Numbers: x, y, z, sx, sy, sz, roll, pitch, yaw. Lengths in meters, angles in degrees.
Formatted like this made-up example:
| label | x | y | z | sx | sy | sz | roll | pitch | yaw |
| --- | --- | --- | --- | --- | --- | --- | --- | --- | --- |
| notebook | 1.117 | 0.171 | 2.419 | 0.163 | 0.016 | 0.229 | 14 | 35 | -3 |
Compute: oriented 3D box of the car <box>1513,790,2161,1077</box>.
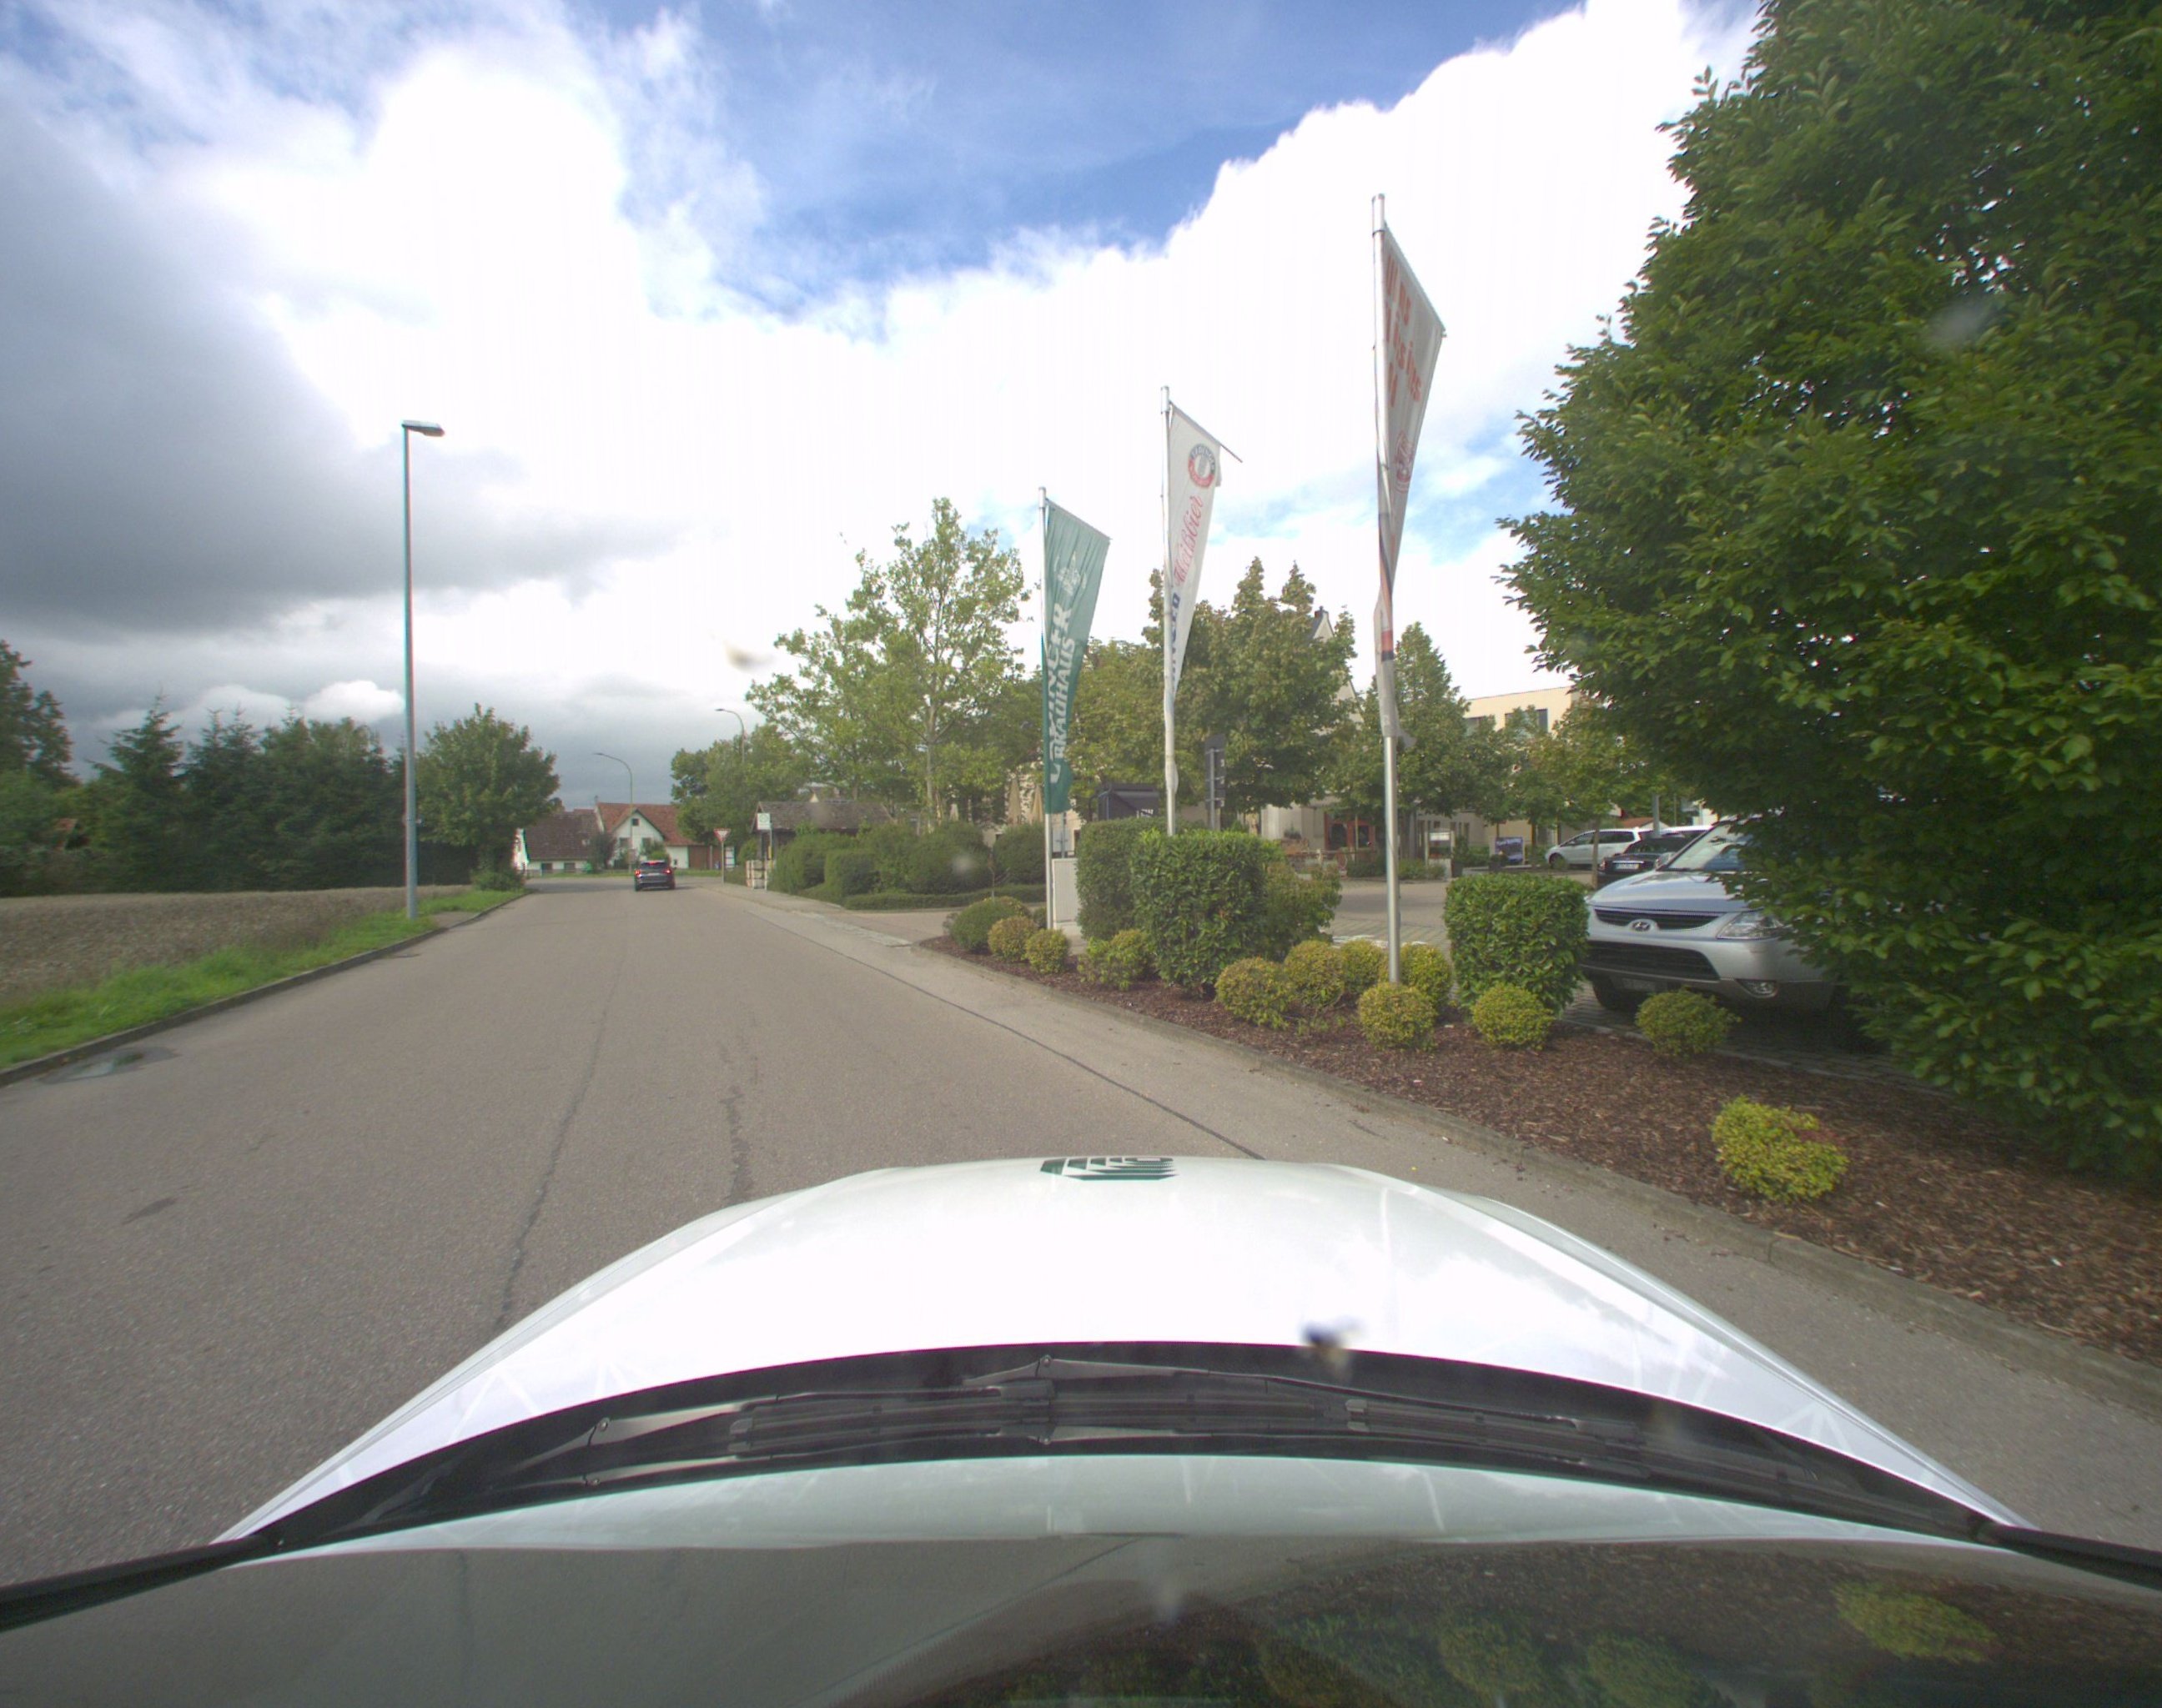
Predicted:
| label | x | y | z | sx | sy | sz | roll | pitch | yaw |
| --- | --- | --- | --- | --- | --- | --- | --- | --- | --- |
| car | 6.163 | 0.443 | 6.666 | 4.678 | 1.696 | 1.907 | -2 | 0 | -19 |

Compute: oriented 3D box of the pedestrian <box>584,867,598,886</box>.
| label | x | y | z | sx | sy | sz | roll | pitch | yaw |
| --- | --- | --- | --- | --- | --- | --- | --- | --- | --- |
| pedestrian | -44.452 | 2.030 | 73.866 | 0.703 | 1.666 | 0.795 | -1 | -4 | 27 |

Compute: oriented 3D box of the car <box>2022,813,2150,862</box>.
| label | x | y | z | sx | sy | sz | roll | pitch | yaw |
| --- | --- | --- | --- | --- | --- | --- | --- | --- | --- |
| car | 32.787 | -0.534 | 26.561 | 3.853 | 1.500 | 1.808 | -1 | 0 | -26 |

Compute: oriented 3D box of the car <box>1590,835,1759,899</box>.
| label | x | y | z | sx | sy | sz | roll | pitch | yaw |
| --- | --- | --- | --- | --- | --- | --- | --- | --- | --- |
| car | 13.695 | 0.264 | 18.800 | 3.375 | 1.351 | 1.618 | -1 | 0 | -22 |

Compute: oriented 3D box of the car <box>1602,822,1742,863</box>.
| label | x | y | z | sx | sy | sz | roll | pitch | yaw |
| --- | --- | --- | --- | --- | --- | --- | --- | --- | --- |
| car | 26.717 | -0.501 | 37.052 | 1.599 | 1.711 | 5.041 | -1 | 0 | -22 |

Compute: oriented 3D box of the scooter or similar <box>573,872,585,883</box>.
| label | x | y | z | sx | sy | sz | roll | pitch | yaw |
| --- | --- | --- | --- | --- | --- | --- | --- | --- | --- |
| scooter or similar | -45.380 | 2.122 | 73.613 | 0.614 | 0.948 | 0.636 | -1 | -4 | 27 |

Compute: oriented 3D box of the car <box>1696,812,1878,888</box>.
| label | x | y | z | sx | sy | sz | roll | pitch | yaw |
| --- | --- | --- | --- | --- | --- | --- | --- | --- | --- |
| car | 18.210 | -0.129 | 20.998 | 4.369 | 1.822 | 1.754 | -1 | 0 | -22 |

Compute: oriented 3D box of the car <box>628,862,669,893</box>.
| label | x | y | z | sx | sy | sz | roll | pitch | yaw |
| --- | --- | --- | --- | --- | --- | --- | --- | --- | --- |
| car | -22.607 | 1.190 | 42.582 | 1.809 | 1.462 | 3.628 | -1 | 0 | -28 |

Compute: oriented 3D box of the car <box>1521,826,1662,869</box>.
| label | x | y | z | sx | sy | sz | roll | pitch | yaw |
| --- | --- | --- | --- | --- | --- | --- | --- | --- | --- |
| car | 21.658 | -0.274 | 34.838 | 1.752 | 1.711 | 5.041 | -1 | 0 | -22 |
